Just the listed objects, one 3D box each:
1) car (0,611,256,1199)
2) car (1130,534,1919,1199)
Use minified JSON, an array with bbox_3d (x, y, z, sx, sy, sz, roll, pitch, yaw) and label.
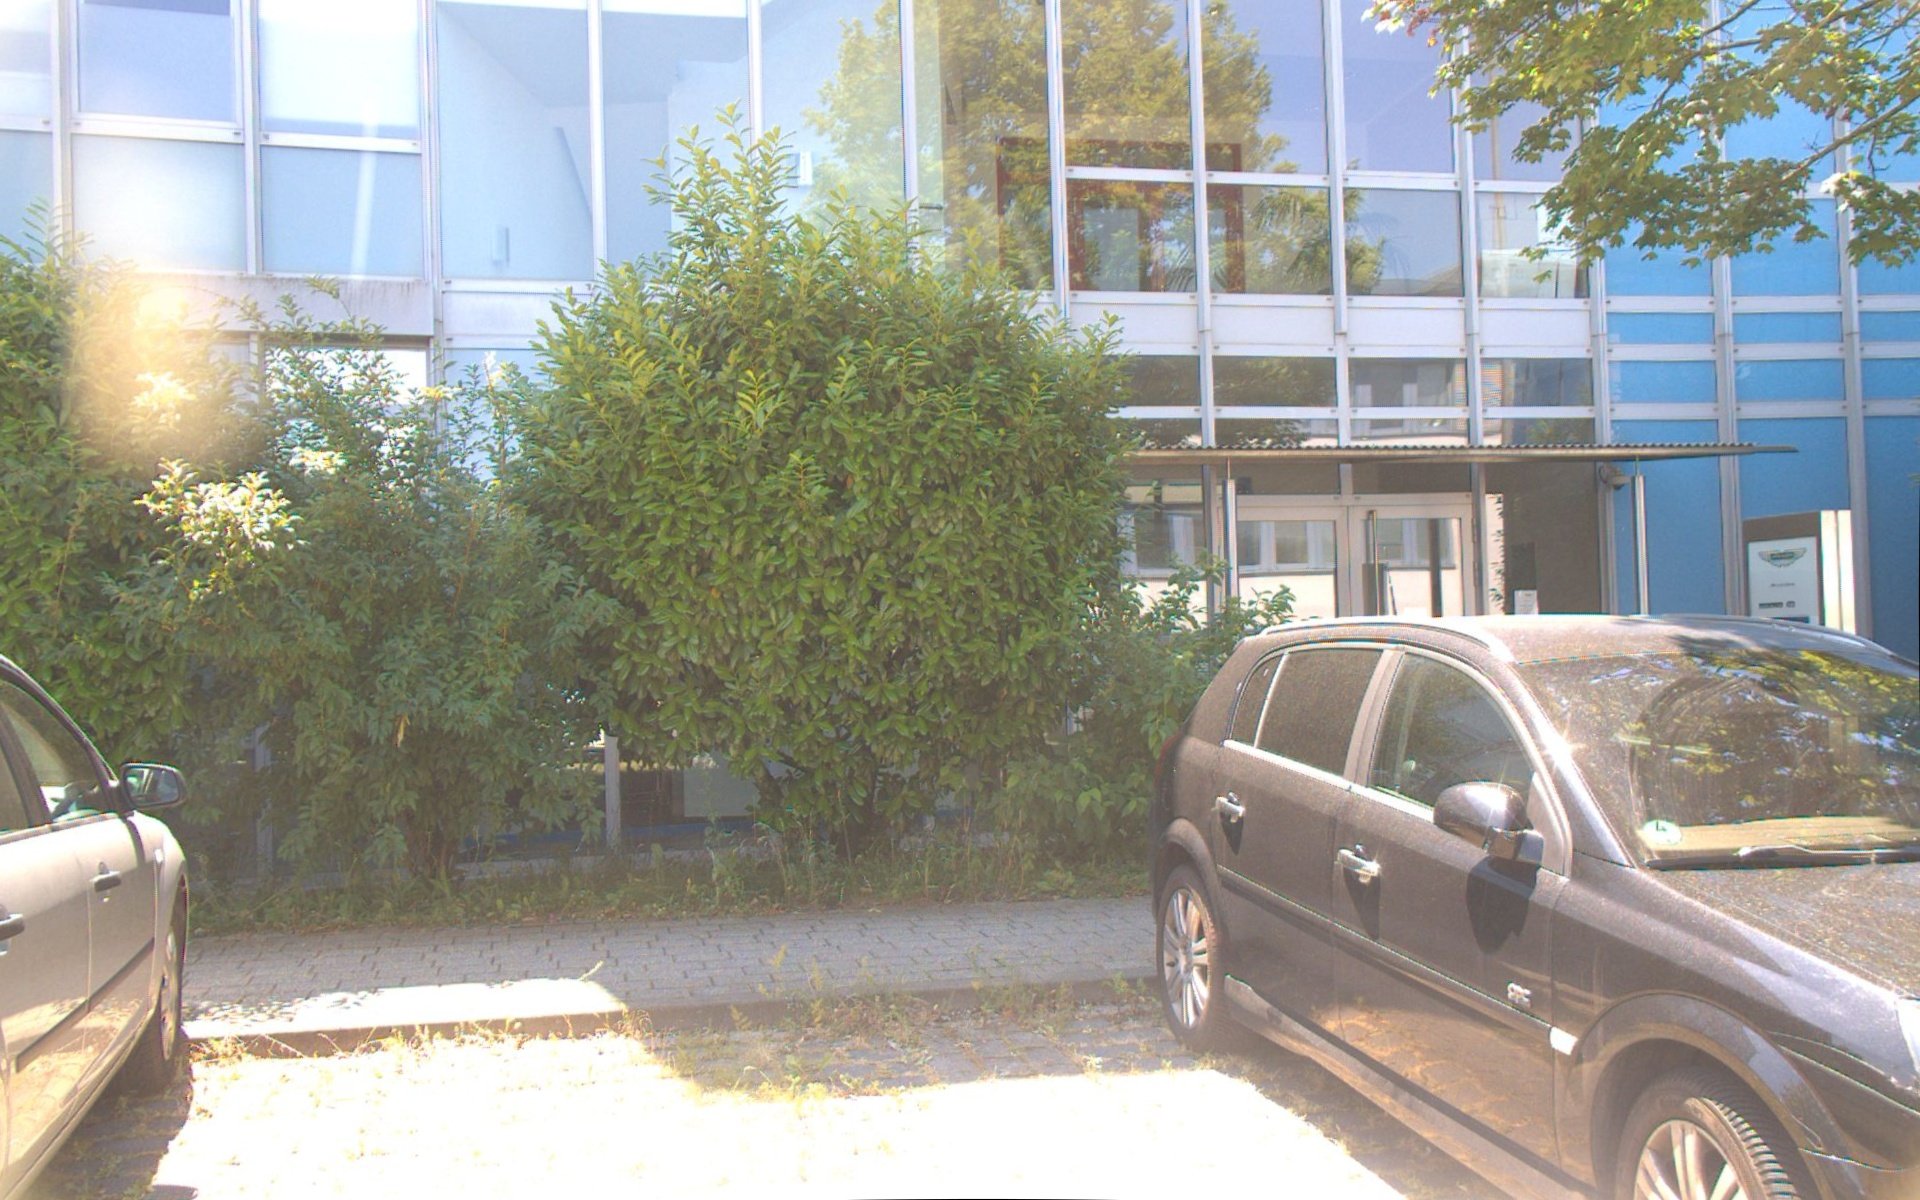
[{"bbox_3d":[-2.807,0.794,3.733,1.691,1.505,4.329,0,-1,-16],"label":"car"},{"bbox_3d":[1.956,0.721,4.449,1.727,1.576,4.552,0,-1,-11],"label":"car"}]
